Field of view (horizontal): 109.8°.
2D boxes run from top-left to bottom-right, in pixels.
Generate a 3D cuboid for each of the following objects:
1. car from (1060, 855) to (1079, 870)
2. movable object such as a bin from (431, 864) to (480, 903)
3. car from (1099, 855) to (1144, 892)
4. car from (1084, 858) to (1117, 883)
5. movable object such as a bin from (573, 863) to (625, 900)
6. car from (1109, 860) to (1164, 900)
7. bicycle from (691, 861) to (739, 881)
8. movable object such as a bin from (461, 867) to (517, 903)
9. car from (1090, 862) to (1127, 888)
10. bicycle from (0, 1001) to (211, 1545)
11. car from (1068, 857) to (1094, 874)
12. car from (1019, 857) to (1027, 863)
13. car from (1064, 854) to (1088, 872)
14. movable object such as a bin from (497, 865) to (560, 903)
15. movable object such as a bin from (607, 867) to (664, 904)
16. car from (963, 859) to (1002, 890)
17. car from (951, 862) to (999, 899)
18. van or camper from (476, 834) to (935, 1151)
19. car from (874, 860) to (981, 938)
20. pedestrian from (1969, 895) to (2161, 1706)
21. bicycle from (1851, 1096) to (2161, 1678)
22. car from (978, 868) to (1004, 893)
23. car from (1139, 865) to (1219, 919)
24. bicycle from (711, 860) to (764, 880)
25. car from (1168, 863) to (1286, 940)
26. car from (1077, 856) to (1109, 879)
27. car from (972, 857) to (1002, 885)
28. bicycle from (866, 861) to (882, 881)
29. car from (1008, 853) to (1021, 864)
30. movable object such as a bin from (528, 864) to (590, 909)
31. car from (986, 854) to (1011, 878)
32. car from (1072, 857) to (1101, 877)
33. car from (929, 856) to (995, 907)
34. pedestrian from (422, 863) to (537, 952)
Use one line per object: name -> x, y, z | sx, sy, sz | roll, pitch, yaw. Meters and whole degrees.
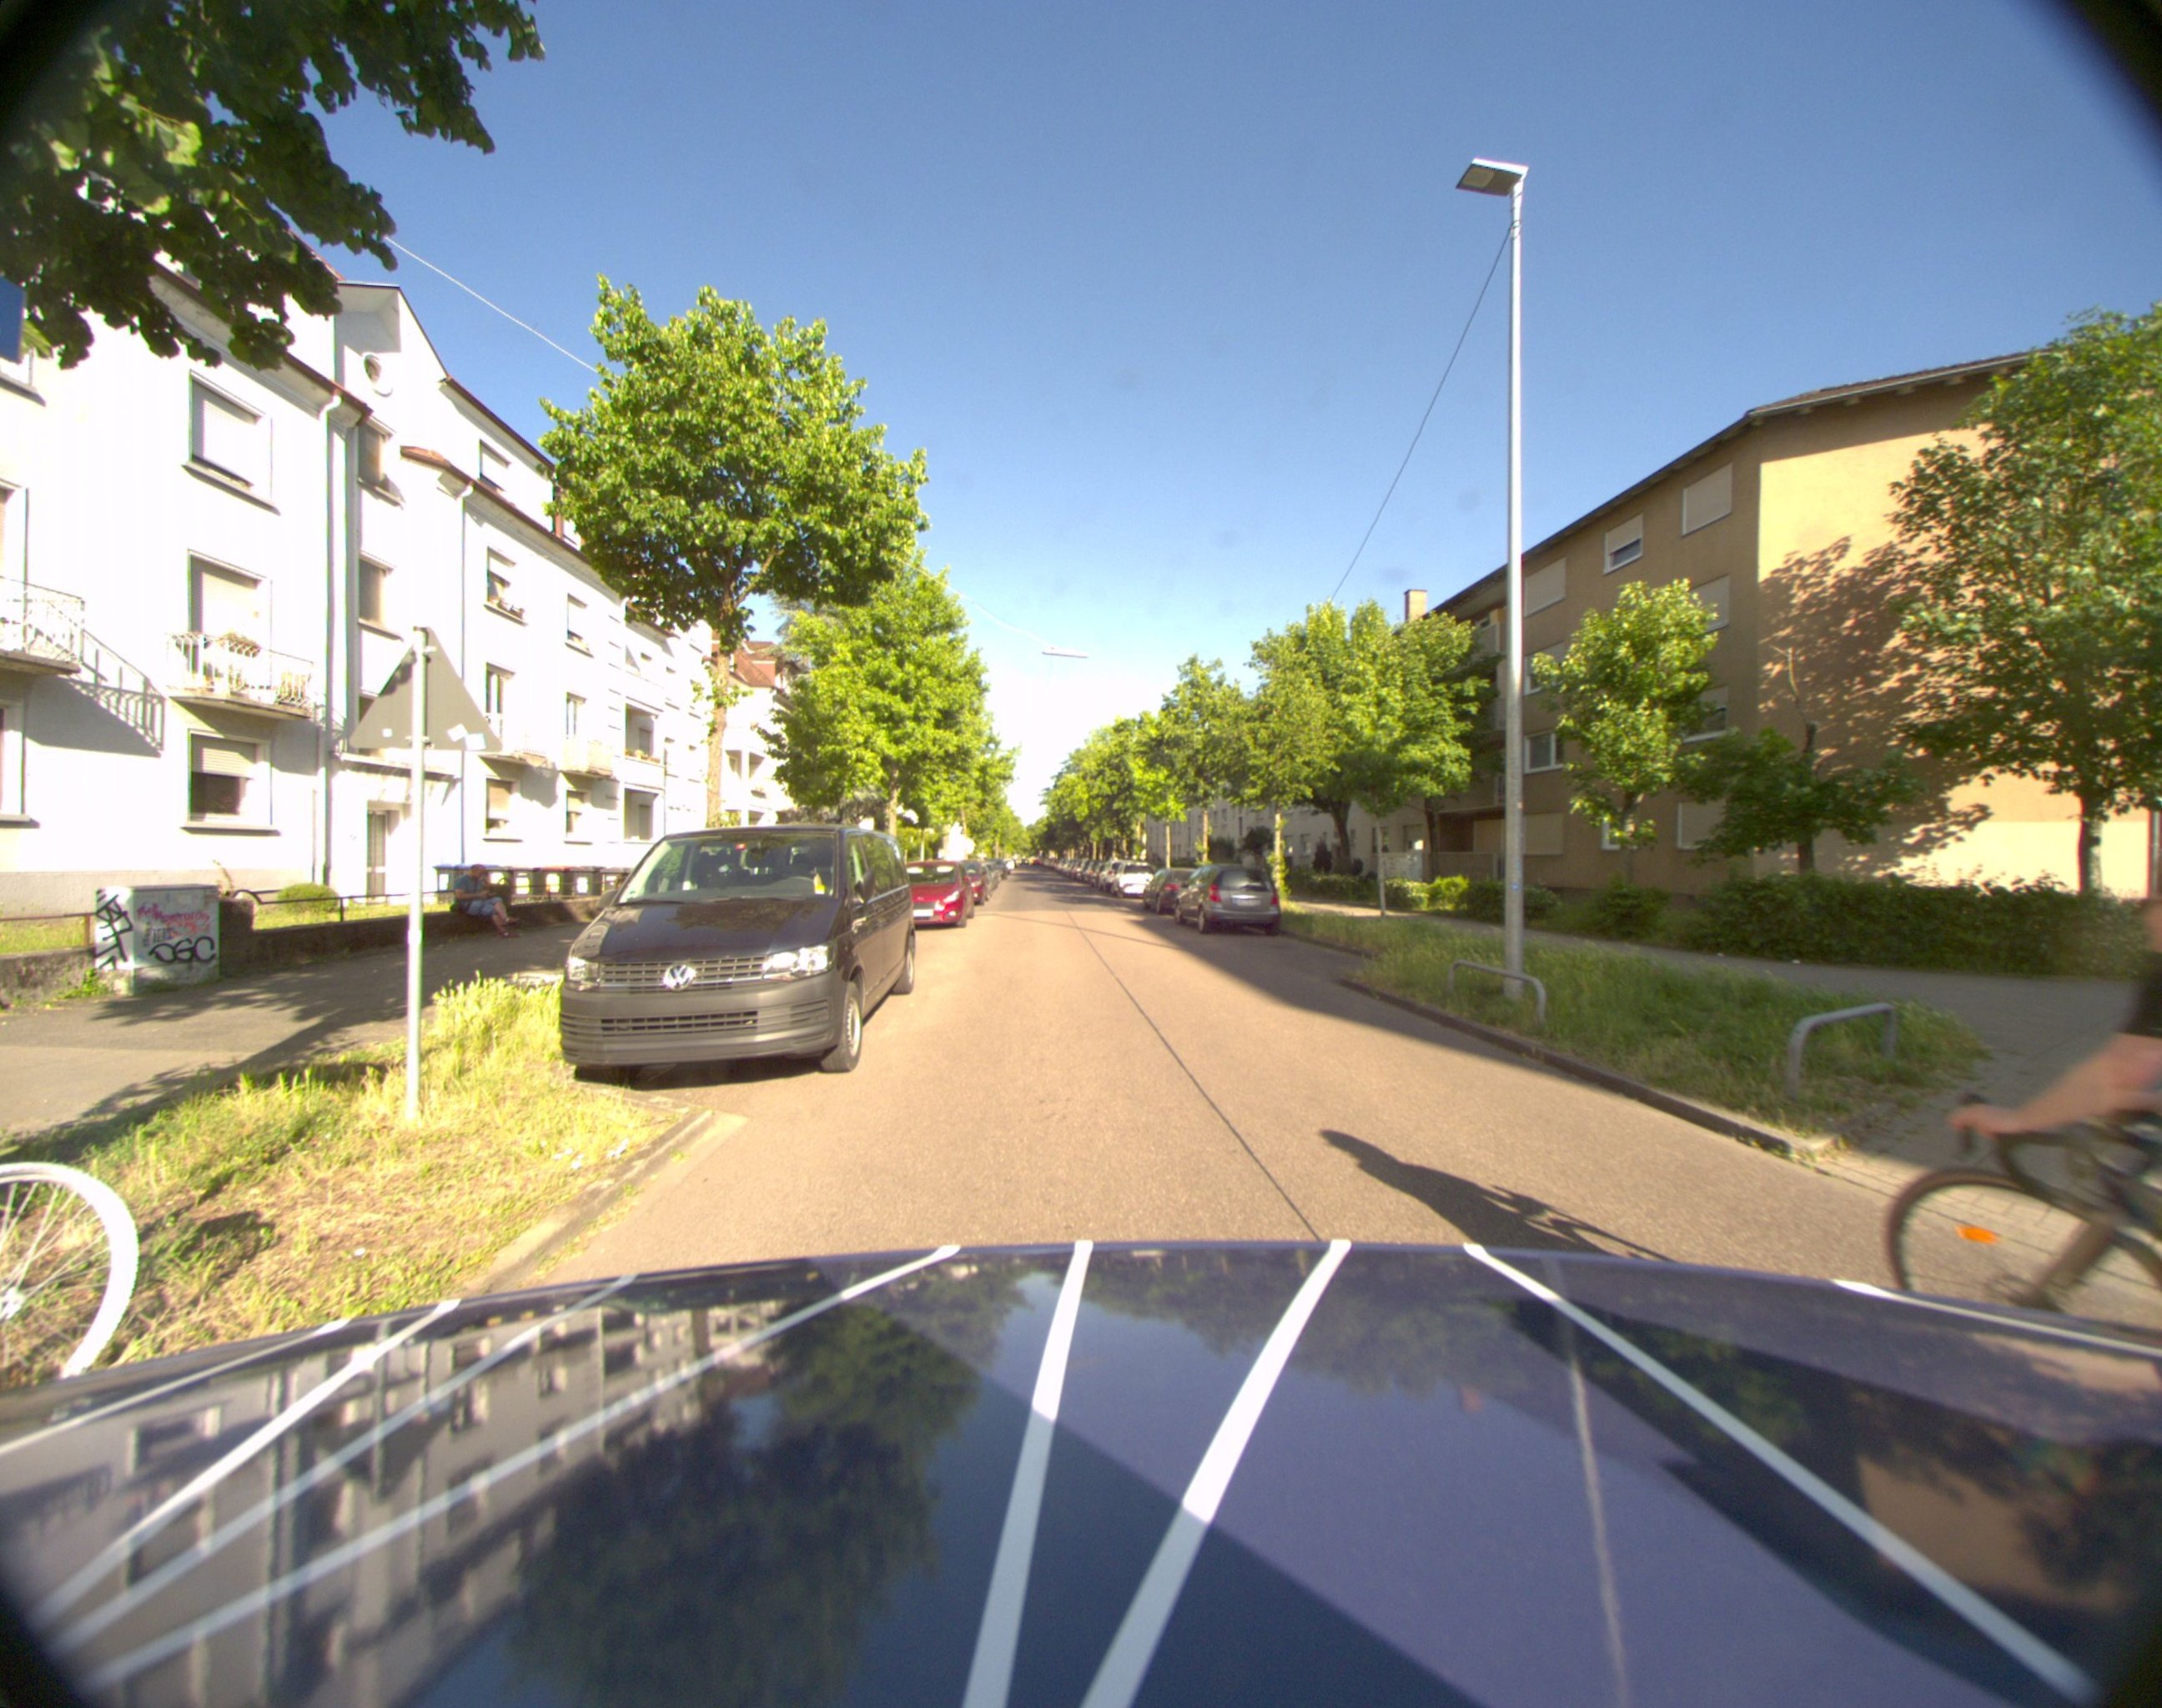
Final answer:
car -> -1.262, 0.859, 82.750 | 1.769, 1.487, 4.013 | -2, 1, -4
movable object such as a bin -> -15.412, 0.726, 18.736 | 0.672, 0.916, 0.596 | -2, 1, 1
car -> 1.968, 0.929, 38.353 | 1.708, 1.670, 4.221 | 1, 1, -5
car -> 1.217, 1.003, 48.824 | 1.654, 1.437, 3.965 | 1, 1, -5
movable object such as a bin -> -12.033, 0.680, 19.001 | 0.777, 0.858, 0.765 | -2, 1, 1
car -> 2.361, 1.074, 33.104 | 1.722, 1.517, 3.997 | -2, 1, -5
bicycle -> -17.724, 0.827, 36.811 | 2.035, 0.913, 0.559 | 1, 1, 0
movable object such as a bin -> -14.580, 0.751, 18.727 | 0.777, 0.817, 0.743 | -2, 1, 1
car -> 1.543, 1.171, 44.205 | 1.662, 1.384, 4.235 | 0, 0, -5
bicycle -> -2.739, 1.040, 1.225 | 0.529, 1.187, 2.028 | 0, 1, -8
car -> -0.023, 0.981, 65.477 | 1.880, 1.367, 4.181 | 1, 1, -5
car -> -13.661, 1.395, 179.702 | 1.769, 1.486, 3.781 | 0, 0, -6
car -> -0.488, 0.853, 71.092 | 1.880, 1.553, 4.181 | 1, 1, -5
movable object such as a bin -> -13.733, 0.731, 18.915 | 0.777, 0.858, 1.010 | -2, 1, 1
movable object such as a bin -> -11.150, 0.785, 19.038 | 0.777, 0.858, 1.010 | -2, 1, 1
car -> -5.091, 1.034, 39.722 | 1.769, 1.389, 3.694 | -2, 1, -4
car -> -4.641, 1.123, 33.778 | 1.716, 1.399, 4.488 | 1, 1, -4
van or camper -> -2.772, 0.798, 7.308 | 1.995, 1.852, 5.384 | -2, 1, -4
car -> -3.692, 1.006, 19.201 | 1.904, 1.604, 4.970 | 0, 1, -3
pedestrian -> 2.538, 0.927, 1.357 | 0.691, 1.631, 1.046 | -2, 1, 1
bicycle -> 2.542, 1.246, 1.324 | 0.550, 1.006, 1.919 | 0, 1, 4
car -> -5.882, 1.733, 50.059 | 1.610, 1.415, 4.012 | -2, 1, -6
car -> 3.002, 1.127, 24.079 | 1.664, 1.387, 4.089 | -2, 1, -5
bicycle -> -15.591, 0.740, 34.511 | 2.066, 0.765, 0.626 | -4, 1, -4
car -> 3.386, 1.049, 18.416 | 1.725, 1.553, 4.106 | 1, 1, -5
car -> 0.817, 0.929, 53.882 | 1.821, 1.576, 4.406 | 1, 0, -5
car -> -5.474, 0.986, 44.448 | 1.610, 1.456, 3.868 | -2, 1, -6
bicycle -> -11.614, 0.954, 42.700 | 0.433, 1.006, 2.247 | -5, 1, -6
car -> -9.905, 0.617, 113.549 | 1.892, 1.624, 3.887 | 0, 0, -4
movable object such as a bin -> -12.972, 0.794, 18.907 | 0.777, 1.020, 1.010 | -2, 1, 1
car -> -6.194, 0.863, 57.186 | 1.769, 1.627, 4.012 | -2, 1, -6
car -> 0.405, 0.982, 58.939 | 1.880, 1.367, 4.066 | 1, 1, -5
car -> -4.277, 0.942, 27.963 | 1.935, 1.558, 4.591 | 2, 1, -4
pedestrian -> -9.428, 0.818, 11.954 | 1.085, 1.288, 0.818 | -2, 2, -5
